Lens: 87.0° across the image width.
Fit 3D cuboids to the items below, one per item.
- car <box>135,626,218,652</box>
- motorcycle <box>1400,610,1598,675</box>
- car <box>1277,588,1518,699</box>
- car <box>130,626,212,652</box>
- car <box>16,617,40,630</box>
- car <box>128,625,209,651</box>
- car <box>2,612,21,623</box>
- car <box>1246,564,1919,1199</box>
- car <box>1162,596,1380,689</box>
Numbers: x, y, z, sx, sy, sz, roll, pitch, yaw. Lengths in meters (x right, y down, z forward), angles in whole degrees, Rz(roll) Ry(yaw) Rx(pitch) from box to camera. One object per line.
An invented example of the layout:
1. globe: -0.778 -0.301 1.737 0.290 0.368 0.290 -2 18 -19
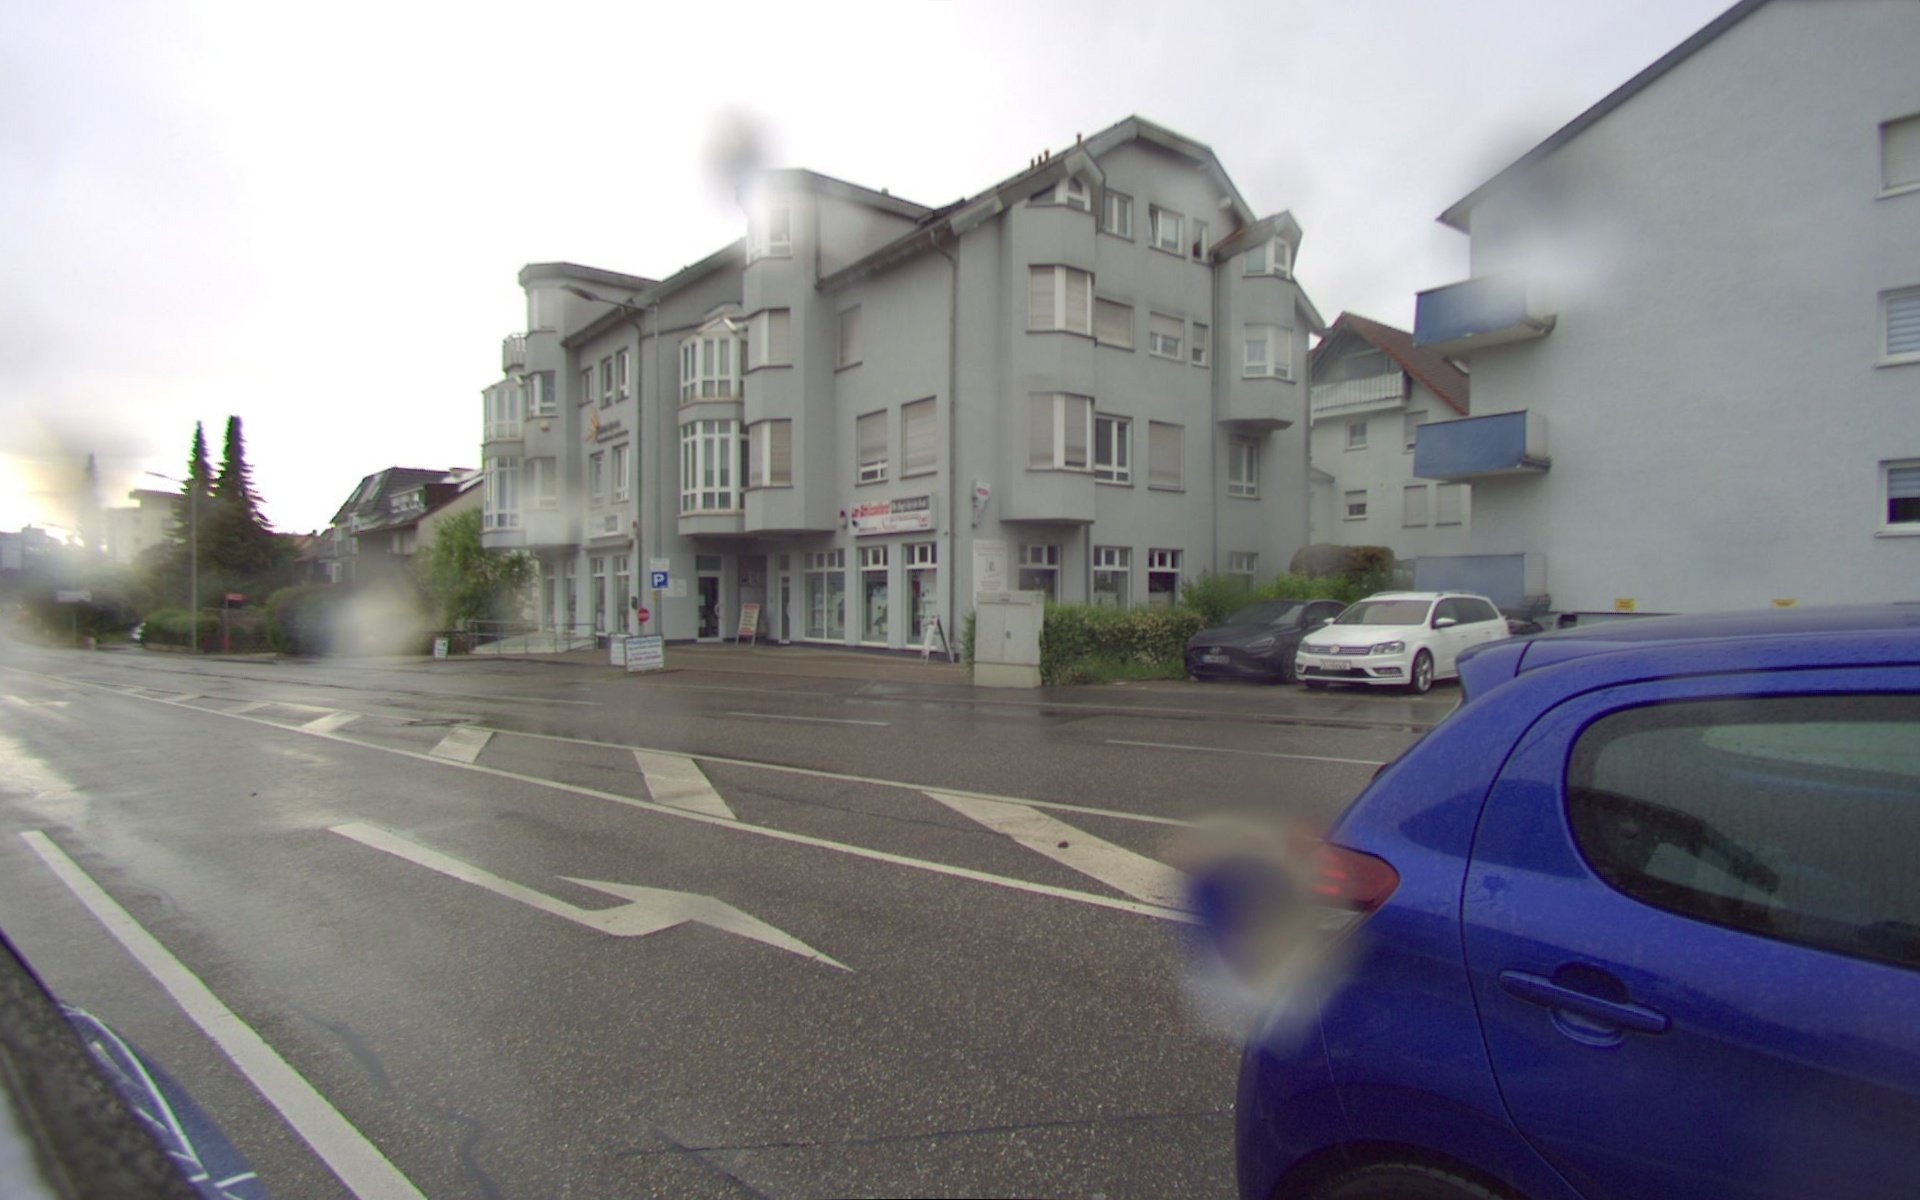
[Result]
1. car: -49.631 2.445 64.130 3.978 1.453 1.814 -2 0 -44
2. motorcycle: 9.765 0.787 18.537 3.112 1.108 0.869 -2 -1 25
3. car: 6.843 0.597 15.629 4.169 1.485 1.906 0 -1 -43
4. car: -51.365 2.514 65.923 4.096 1.453 1.892 -2 0 -42
5. car: -124.501 3.165 135.197 1.968 1.628 4.008 0 -1 -38
6. car: -53.160 2.507 68.002 4.058 1.557 2.002 -2 0 -44
7. car: -148.776 2.782 158.766 1.824 1.777 4.129 0 -1 -39
8. car: 2.239 0.637 1.236 3.269 1.421 1.562 -2 0 42
9. car: 5.468 0.673 17.549 3.940 1.421 1.906 0 -1 -43
